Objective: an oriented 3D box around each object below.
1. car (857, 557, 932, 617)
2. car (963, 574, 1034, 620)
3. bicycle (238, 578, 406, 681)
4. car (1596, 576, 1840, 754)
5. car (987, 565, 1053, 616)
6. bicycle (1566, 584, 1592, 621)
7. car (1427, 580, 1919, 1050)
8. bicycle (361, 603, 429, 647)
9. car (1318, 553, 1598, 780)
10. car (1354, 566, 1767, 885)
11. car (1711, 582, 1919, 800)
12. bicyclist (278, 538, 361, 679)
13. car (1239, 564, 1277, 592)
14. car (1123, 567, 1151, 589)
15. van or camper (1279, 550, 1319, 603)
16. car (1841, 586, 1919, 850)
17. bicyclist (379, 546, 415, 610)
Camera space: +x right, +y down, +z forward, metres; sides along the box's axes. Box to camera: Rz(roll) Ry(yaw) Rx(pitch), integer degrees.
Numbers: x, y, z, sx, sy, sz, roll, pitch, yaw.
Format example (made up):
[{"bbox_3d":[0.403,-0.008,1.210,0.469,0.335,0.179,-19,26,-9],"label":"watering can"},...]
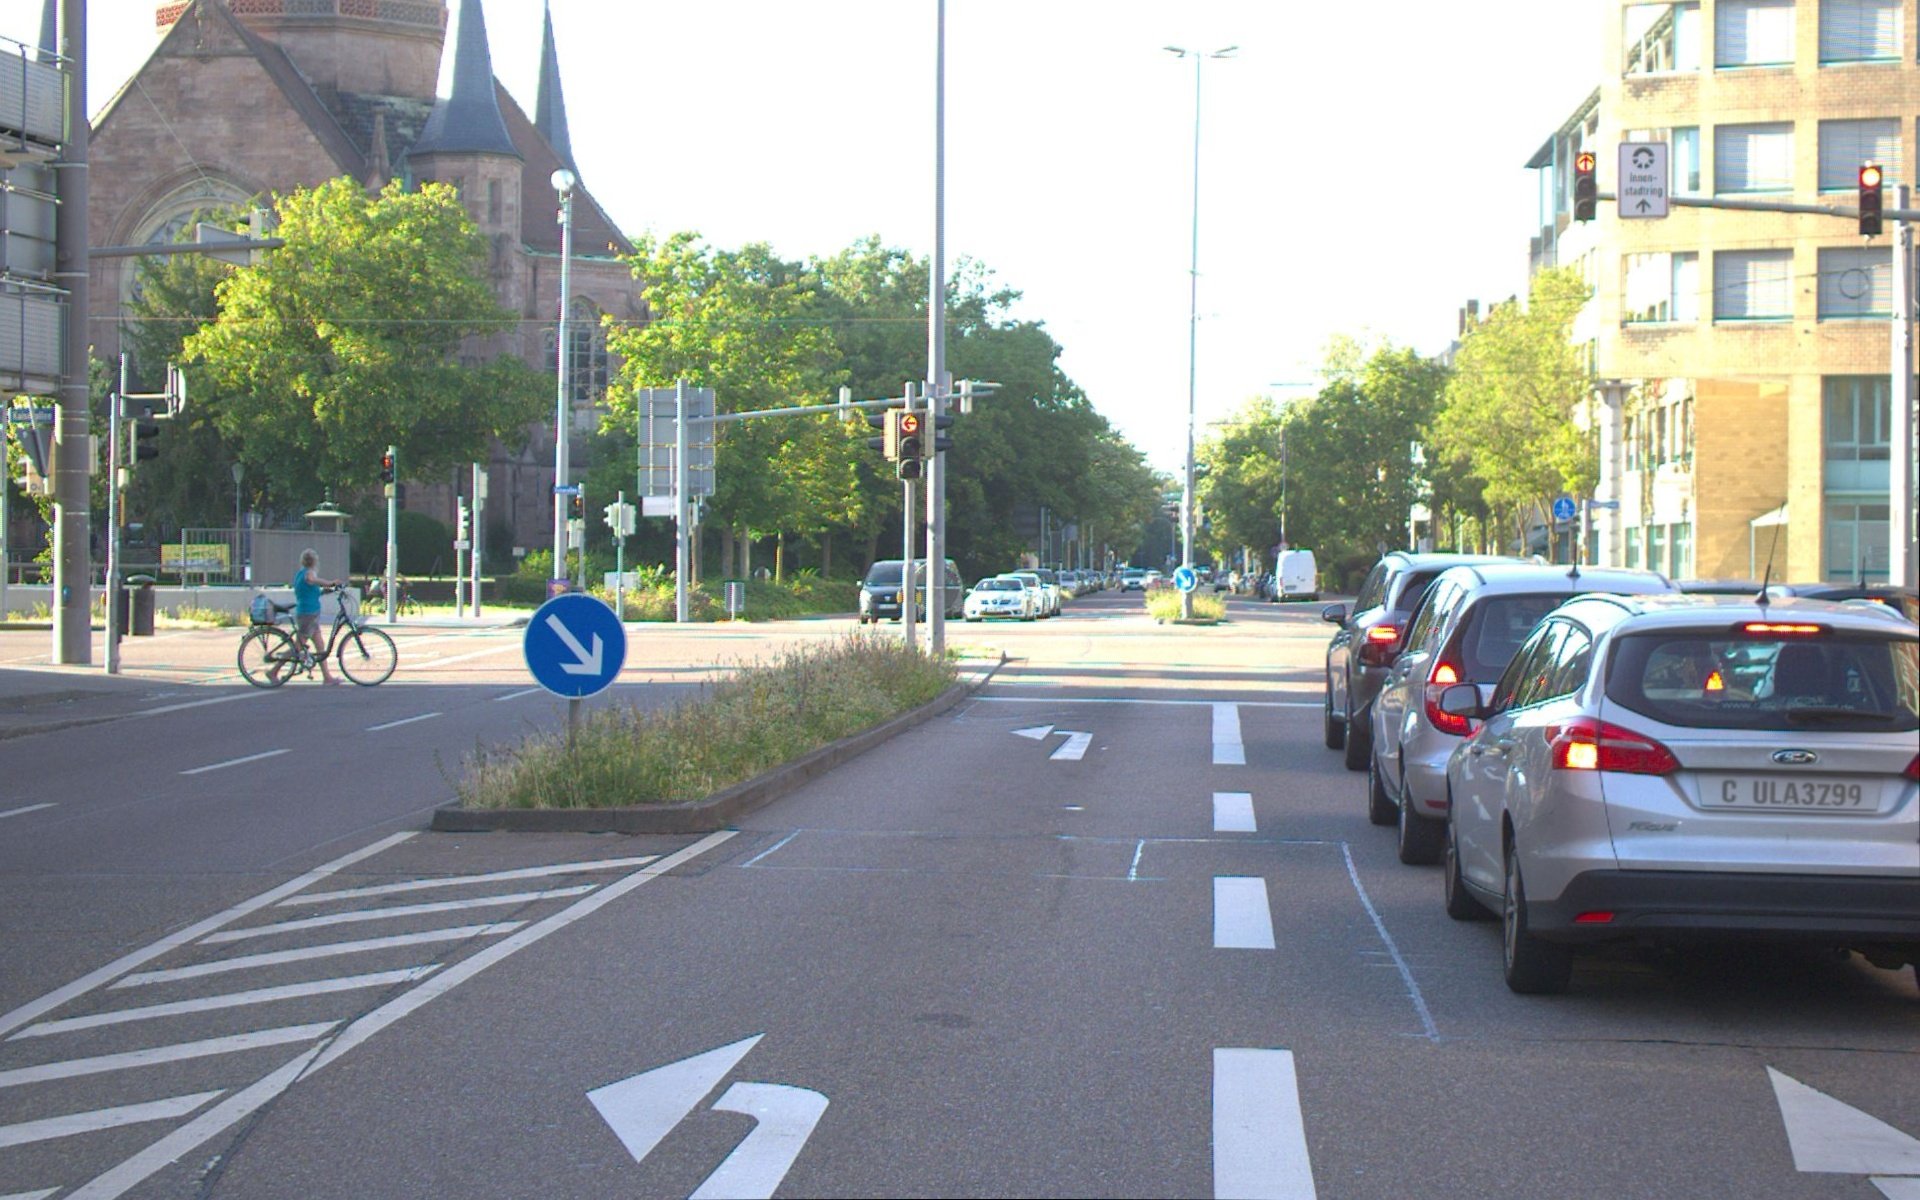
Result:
[{"bbox_3d":[-1.862,-0.397,99.081,1.780,1.641,3.999,1,1,4],"label":"car"},{"bbox_3d":[1.121,-0.104,98.305,1.780,1.232,3.999,1,1,4],"label":"car"},{"bbox_3d":[-7.554,0.349,40.717,1.827,1.184,0.734,1,1,3],"label":"bicycle"},{"bbox_3d":[6.822,0.545,31.249,1.585,1.442,3.647,2,1,4],"label":"car"},{"bbox_3d":[1.850,-0.303,104.839,1.780,1.459,3.999,1,1,4],"label":"car"},{"bbox_3d":[20.628,0.073,114.504,0.774,1.191,2.464,1,1,12],"label":"bicycle"},{"bbox_3d":[2.893,0.715,13.720,1.708,1.504,4.308,2,1,4],"label":"car"},{"bbox_3d":[-15.182,0.672,92.407,1.675,1.135,0.647,1,1,12],"label":"bicycle"},{"bbox_3d":[3.862,0.452,27.283,1.784,1.627,4.478,1,1,3],"label":"car"},{"bbox_3d":[3.220,0.610,19.076,1.804,1.563,3.618,1,1,3],"label":"car"},{"bbox_3d":[6.724,0.633,25.927,1.489,1.500,3.479,1,1,3],"label":"car"},{"bbox_3d":[-7.639,0.094,41.043,0.782,1.654,0.900,0,1,3],"label":"bicyclist"},{"bbox_3d":[17.991,-1.338,207.910,1.993,1.587,4.000,1,1,1],"label":"car"},{"bbox_3d":[12.046,-1.501,234.058,1.780,1.444,3.999,1,1,4],"label":"car"},{"bbox_3d":[17.429,-1.219,176.776,1.994,2.631,5.349,1,1,5],"label":"van or camper"},{"bbox_3d":[6.315,0.704,19.724,1.651,1.479,4.239,2,1,4],"label":"car"},{"bbox_3d":[-15.134,-0.589,92.394,0.780,1.688,0.641,1,1,12],"label":"bicyclist"}]
